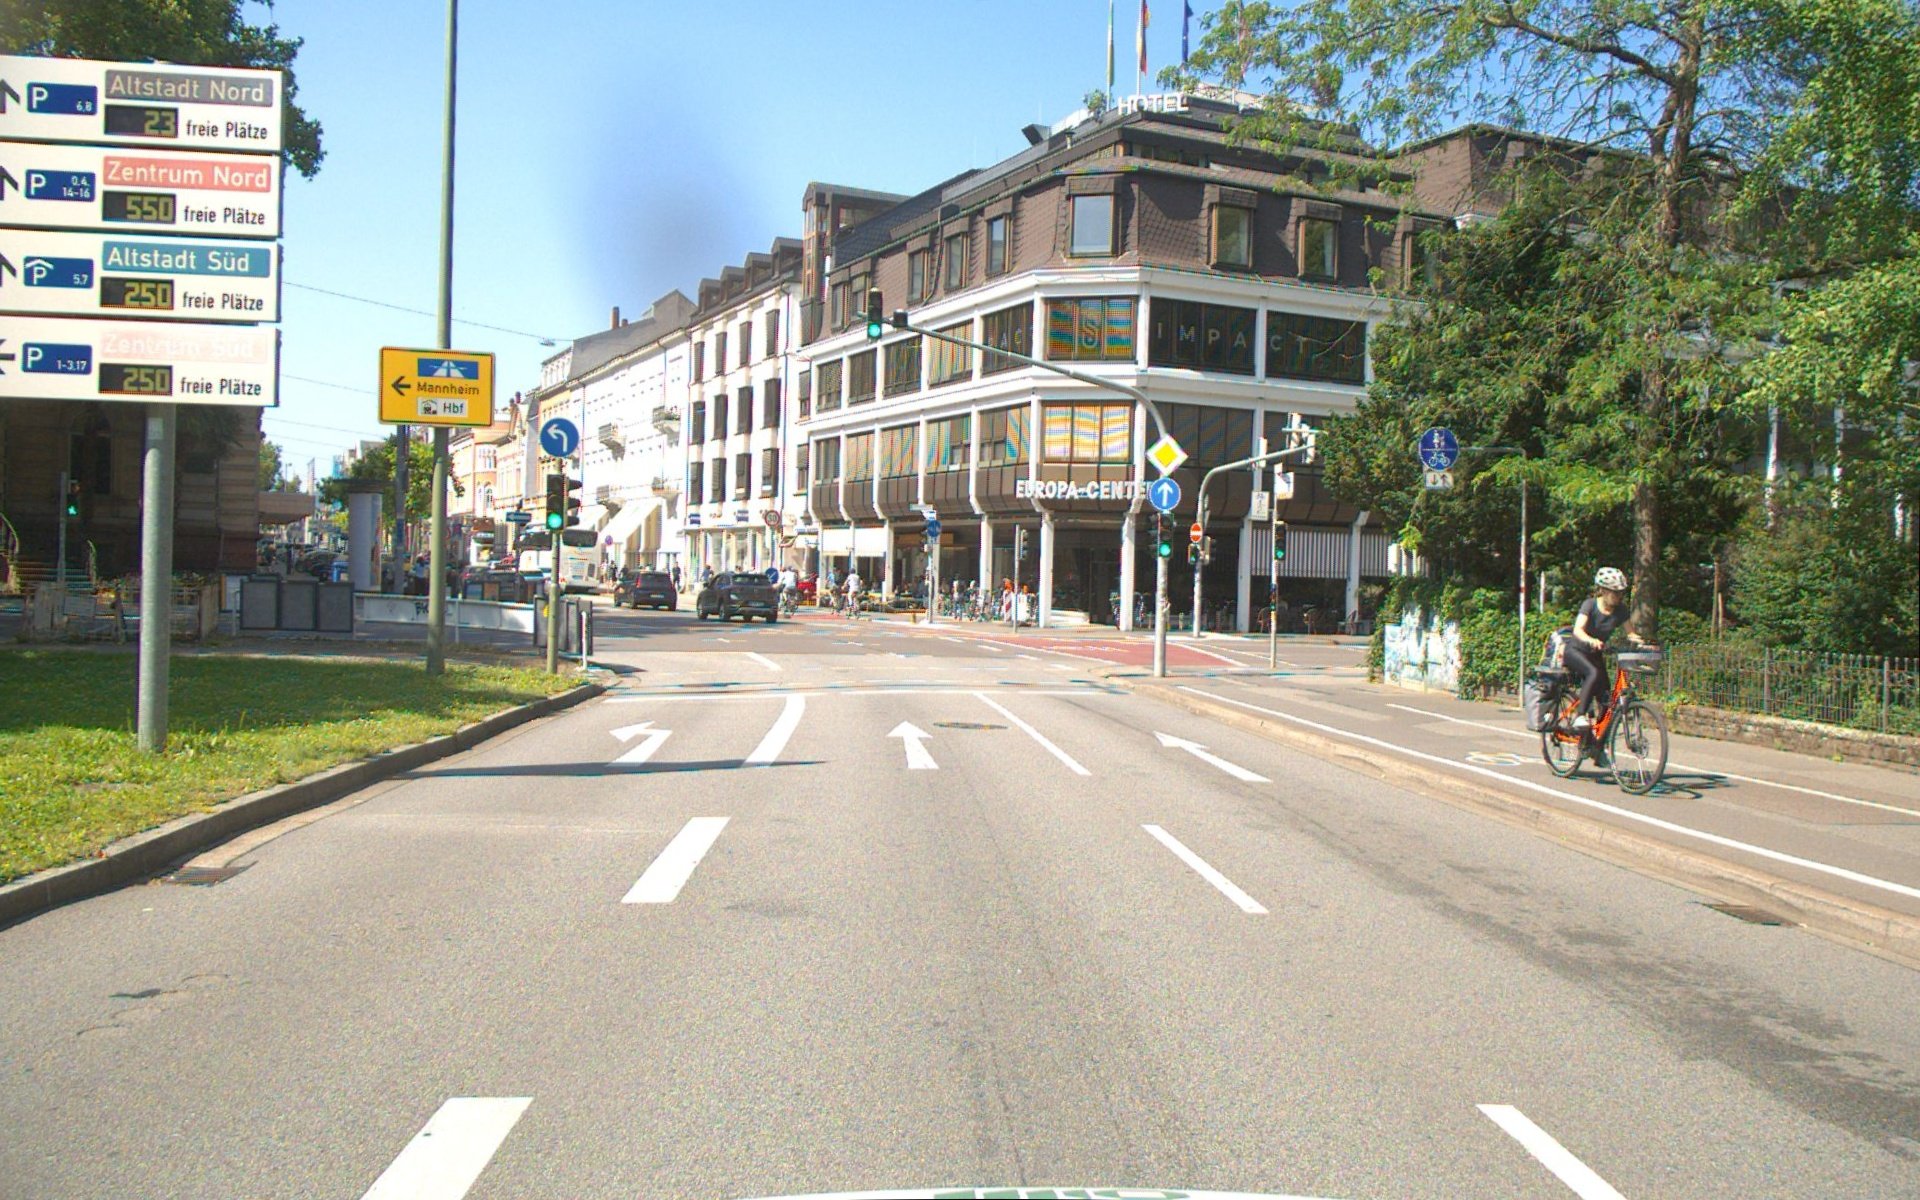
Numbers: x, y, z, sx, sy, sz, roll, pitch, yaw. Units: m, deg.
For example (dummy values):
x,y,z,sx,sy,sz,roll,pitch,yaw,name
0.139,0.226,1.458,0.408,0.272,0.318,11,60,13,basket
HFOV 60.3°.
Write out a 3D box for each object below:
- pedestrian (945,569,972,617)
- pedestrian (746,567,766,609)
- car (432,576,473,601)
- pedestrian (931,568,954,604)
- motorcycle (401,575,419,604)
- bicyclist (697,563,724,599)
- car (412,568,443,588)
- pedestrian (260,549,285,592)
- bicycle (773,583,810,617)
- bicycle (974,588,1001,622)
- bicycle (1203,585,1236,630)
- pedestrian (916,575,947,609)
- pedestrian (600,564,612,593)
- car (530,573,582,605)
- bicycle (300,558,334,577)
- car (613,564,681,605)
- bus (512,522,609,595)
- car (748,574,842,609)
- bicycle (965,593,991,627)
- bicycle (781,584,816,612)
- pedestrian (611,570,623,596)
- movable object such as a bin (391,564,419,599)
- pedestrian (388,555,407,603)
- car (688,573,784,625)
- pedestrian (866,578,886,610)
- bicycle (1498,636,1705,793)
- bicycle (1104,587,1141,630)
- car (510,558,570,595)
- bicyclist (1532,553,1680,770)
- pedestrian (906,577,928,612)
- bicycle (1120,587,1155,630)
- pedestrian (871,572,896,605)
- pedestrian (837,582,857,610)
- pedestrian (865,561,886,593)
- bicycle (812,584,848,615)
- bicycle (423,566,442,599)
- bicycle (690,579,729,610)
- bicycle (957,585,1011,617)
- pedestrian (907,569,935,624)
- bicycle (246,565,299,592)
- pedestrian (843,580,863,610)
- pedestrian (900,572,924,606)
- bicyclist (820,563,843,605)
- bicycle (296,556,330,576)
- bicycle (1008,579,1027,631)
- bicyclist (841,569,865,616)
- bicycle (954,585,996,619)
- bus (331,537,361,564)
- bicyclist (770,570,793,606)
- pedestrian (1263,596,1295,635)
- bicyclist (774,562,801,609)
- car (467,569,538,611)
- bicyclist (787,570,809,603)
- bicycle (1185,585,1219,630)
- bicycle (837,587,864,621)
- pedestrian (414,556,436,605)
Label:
x,y,z,sx,sy,sz,roll,pitch,yaw,name
-0.058,-0.258,59.397,0.819,1.692,0.693,1,-1,-16,pedestrian
-8.748,-0.516,71.032,0.612,1.749,0.829,2,0,-23,pedestrian
-30.676,-0.678,99.984,1.839,1.466,3.968,1,-1,-25,car
-0.707,-0.568,67.679,0.702,1.421,0.691,1,-1,-26,pedestrian
-19.739,-0.385,59.390,0.446,1.015,2.152,3,0,-15,motorcycle
-11.659,-0.881,77.262,0.970,1.627,1.047,2,0,-25,bicyclist
-41.611,-1.739,129.159,1.839,1.466,3.969,1,1,-25,car
-29.361,-1.268,70.664,0.769,1.804,0.999,2,0,-11,pedestrian
-6.273,-0.018,61.487,0.656,1.140,2.227,3,1,-24,bicycle
0.968,0.169,58.733,0.272,1.140,2.233,1,1,-16,bicycle
8.753,0.249,55.787,0.519,1.447,1.965,2,2,26,bicycle
-1.176,-0.331,68.509,0.884,1.374,1.096,1,0,-25,pedestrian
-22.408,-1.331,104.595,0.565,1.809,1.013,1,0,-22,pedestrian
-20.292,-0.534,82.940,1.810,1.554,3.969,-1,0,-25,car
-43.133,-2.194,110.982,2.038,1.150,0.613,4,-1,-24,bicycle
-12.296,-0.597,64.755,1.808,1.554,3.971,-1,0,-23,car
-23.200,-2.418,95.404,2.845,3.807,12.328,3,0,-25,bus
-7.622,-0.379,76.327,3.990,1.521,1.828,1,-1,-24,car
0.634,0.339,58.490,0.272,1.140,2.233,1,1,-16,bicycle
-6.654,-0.092,67.990,0.612,1.118,2.333,2,0,-26,bicycle
-21.981,-1.107,105.988,0.636,1.645,0.816,1,-1,-22,pedestrian
-24.703,-0.817,73.583,1.106,1.476,1.431,3,1,-19,movable object such as a bin
-20.137,-0.751,59.220,0.540,1.694,0.933,1,-1,-16,pedestrian
-7.134,-0.053,52.342,1.811,1.554,3.966,-1,1,-26,car
-3.790,-0.271,74.218,0.751,1.391,0.474,1,1,-26,pedestrian
5.104,0.875,13.318,0.743,1.140,1.999,1,-1,-5,bicycle
5.394,0.261,54.780,0.519,1.339,1.965,2,2,26,bicycle
-18.249,-1.034,71.696,1.839,1.466,3.970,1,1,-24,car
5.138,0.478,13.206,0.749,1.664,0.942,1,0,-6,bicyclist
-1.813,-0.231,69.461,0.702,1.421,0.691,1,-1,-26,pedestrian
5.878,0.264,54.599,0.519,1.339,1.857,2,2,26,bicycle
-3.405,-0.514,73.890,0.866,1.391,0.533,6,-2,-26,pedestrian
-4.756,-0.170,69.553,0.700,1.193,0.694,1,0,-16,pedestrian
-3.825,-1.039,74.782,0.735,1.391,0.580,-2,2,-26,pedestrian
-4.927,-0.018,62.696,0.612,1.118,2.335,2,0,-24,bicycle
-18.967,-0.621,59.519,0.422,1.140,2.235,3,-1,-13,bicycle
-11.707,-0.269,77.266,0.965,1.410,2.978,2,0,-25,bicycle
0.913,0.052,61.746,2.214,1.140,0.274,1,1,-33,bicycle
-1.371,-0.115,57.524,0.819,1.868,0.694,1,0,-16,pedestrian
-29.244,-0.911,70.383,1.984,1.080,0.489,2,0,-11,bicycle
-4.435,-0.191,68.764,0.700,1.238,0.694,1,0,-16,pedestrian
-2.031,-0.475,70.286,0.803,1.421,0.691,1,0,-27,pedestrian
-4.868,-0.622,62.577,0.612,1.556,0.863,2,0,-23,bicyclist
-44.690,-2.364,114.257,2.053,1.240,0.749,4,-1,-41,bicycle
1.926,0.172,55.322,0.368,1.507,1.059,-2,-15,14,bicycle
-3.846,-0.282,59.382,0.683,1.654,0.831,1,1,-17,bicyclist
0.554,0.071,60.847,1.521,1.228,0.276,1,1,-18,bicycle
-84.165,-6.823,226.553,2.738,3.667,8.895,1,2,-27,bus
-7.038,-0.469,65.258,0.613,1.378,0.839,2,0,-26,bicyclist
11.363,0.548,58.894,0.811,1.358,0.970,2,1,29,pedestrian
-6.435,-0.539,61.718,0.685,1.702,0.909,4,1,-23,bicyclist
-16.507,-0.394,59.542,1.910,1.378,4.220,1,2,-23,car
-6.649,-0.574,68.015,0.613,1.319,0.860,2,0,-26,bicyclist
8.206,0.232,55.993,0.519,1.447,1.965,2,2,26,bicycle
-3.953,0.143,59.678,0.585,1.140,1.793,1,1,-16,bicycle
-19.111,-0.701,59.079,0.685,1.725,0.686,1,-1,-22,pedestrian
